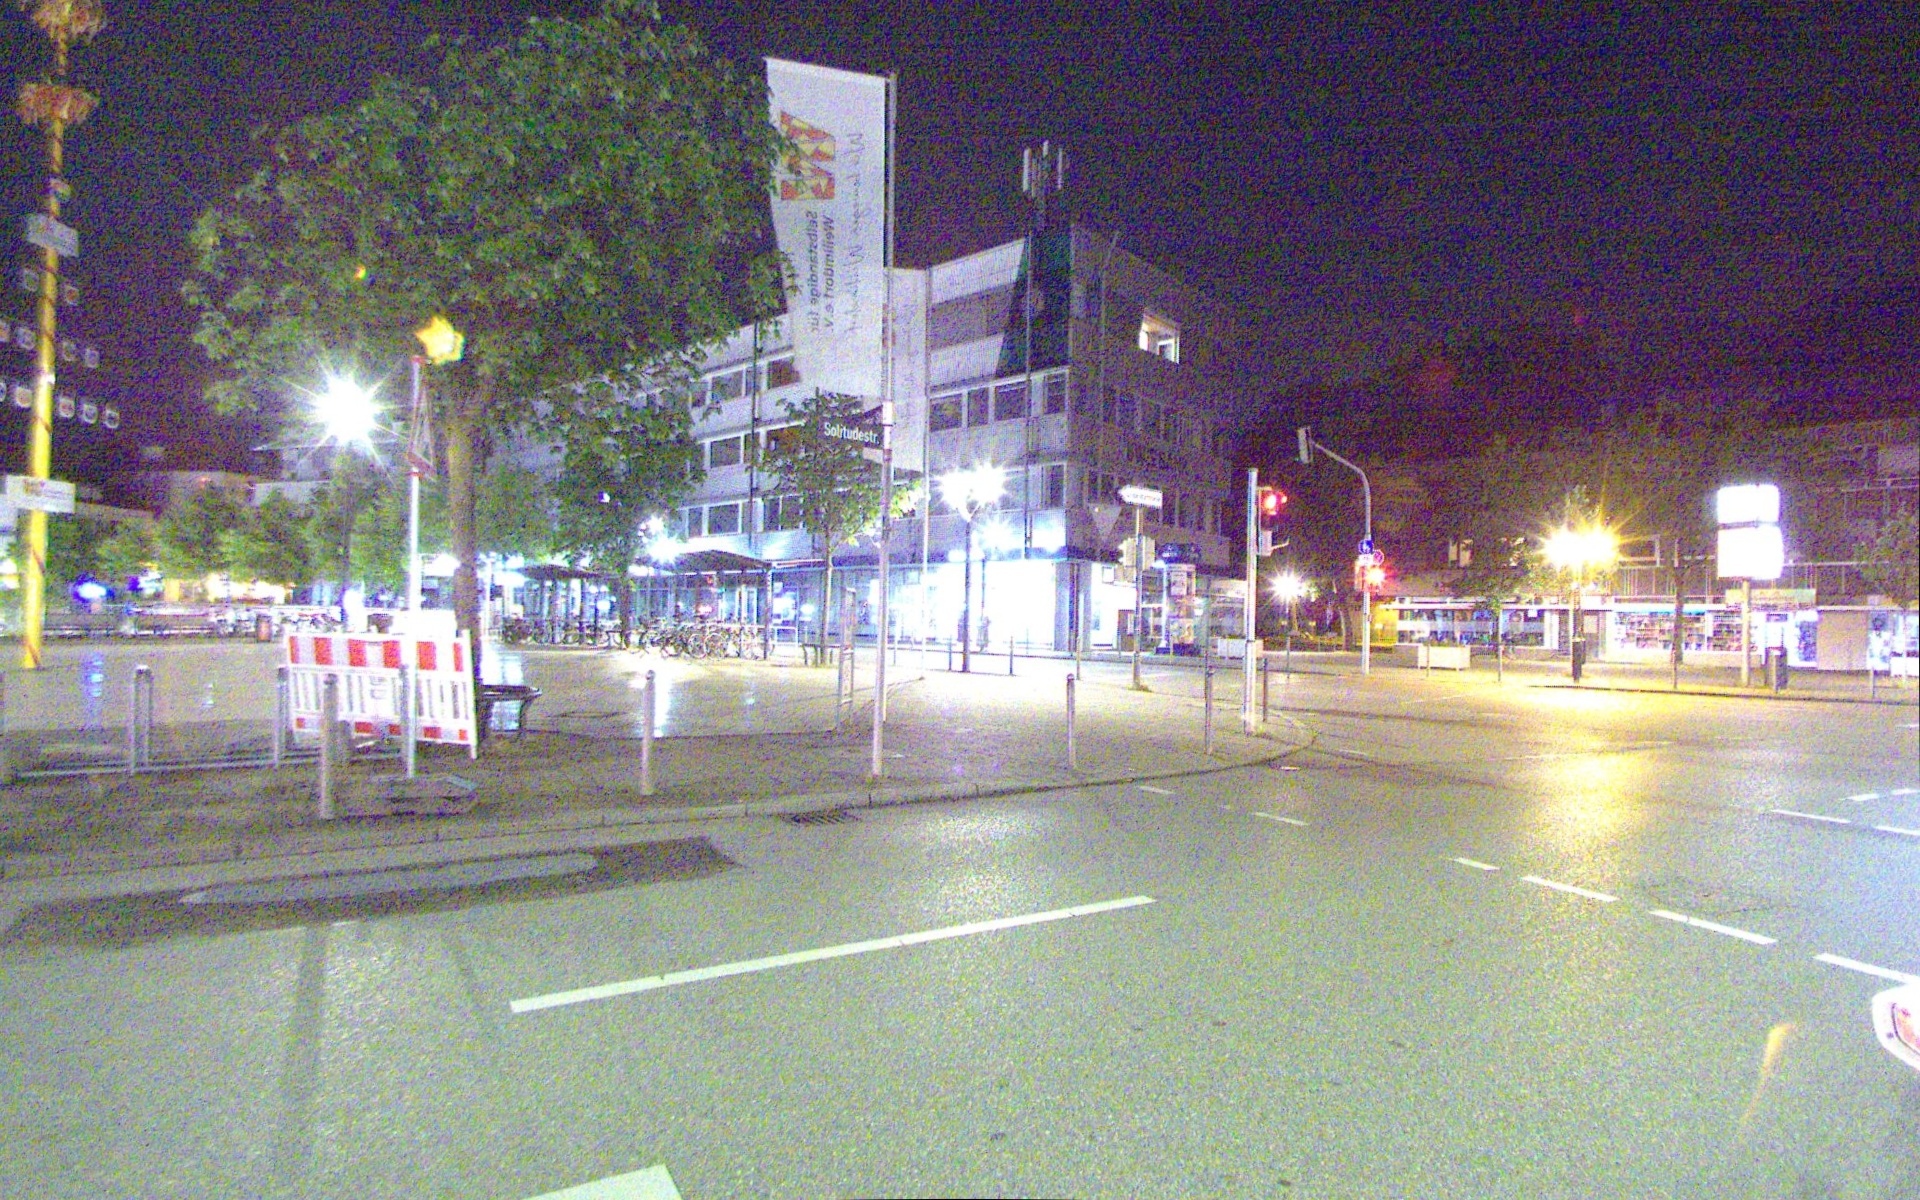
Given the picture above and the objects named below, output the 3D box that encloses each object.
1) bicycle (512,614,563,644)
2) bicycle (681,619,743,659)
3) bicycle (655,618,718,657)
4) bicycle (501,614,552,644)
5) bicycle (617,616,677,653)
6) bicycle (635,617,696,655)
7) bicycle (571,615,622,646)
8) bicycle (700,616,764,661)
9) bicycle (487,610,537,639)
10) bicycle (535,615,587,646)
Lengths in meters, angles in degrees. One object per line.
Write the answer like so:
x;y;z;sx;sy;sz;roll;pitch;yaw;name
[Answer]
-14.181;0.988;33.737;0.473;0.970;1.525;2;0;44;bicycle
-6.307;0.981;25.566;0.440;0.970;1.525;2;0;43;bicycle
-7.105;0.971;26.142;0.473;0.970;1.525;2;0;44;bicycle
-14.833;0.996;34.406;0.473;0.970;1.525;2;0;44;bicycle
-8.528;0.942;27.422;0.473;0.970;1.525;2;0;44;bicycle
-7.848;0.960;26.822;0.473;0.970;1.525;2;0;44;bicycle
-11.991;1.013;33.142;0.473;0.970;1.525;2;0;44;bicycle
-5.648;0.949;24.924;0.440;1.068;1.525;2;0;43;bicycle
-15.547;0.845;34.882;0.473;0.970;1.525;2;0;44;bicycle
-13.147;1.001;33.091;0.473;0.970;1.525;2;0;44;bicycle
